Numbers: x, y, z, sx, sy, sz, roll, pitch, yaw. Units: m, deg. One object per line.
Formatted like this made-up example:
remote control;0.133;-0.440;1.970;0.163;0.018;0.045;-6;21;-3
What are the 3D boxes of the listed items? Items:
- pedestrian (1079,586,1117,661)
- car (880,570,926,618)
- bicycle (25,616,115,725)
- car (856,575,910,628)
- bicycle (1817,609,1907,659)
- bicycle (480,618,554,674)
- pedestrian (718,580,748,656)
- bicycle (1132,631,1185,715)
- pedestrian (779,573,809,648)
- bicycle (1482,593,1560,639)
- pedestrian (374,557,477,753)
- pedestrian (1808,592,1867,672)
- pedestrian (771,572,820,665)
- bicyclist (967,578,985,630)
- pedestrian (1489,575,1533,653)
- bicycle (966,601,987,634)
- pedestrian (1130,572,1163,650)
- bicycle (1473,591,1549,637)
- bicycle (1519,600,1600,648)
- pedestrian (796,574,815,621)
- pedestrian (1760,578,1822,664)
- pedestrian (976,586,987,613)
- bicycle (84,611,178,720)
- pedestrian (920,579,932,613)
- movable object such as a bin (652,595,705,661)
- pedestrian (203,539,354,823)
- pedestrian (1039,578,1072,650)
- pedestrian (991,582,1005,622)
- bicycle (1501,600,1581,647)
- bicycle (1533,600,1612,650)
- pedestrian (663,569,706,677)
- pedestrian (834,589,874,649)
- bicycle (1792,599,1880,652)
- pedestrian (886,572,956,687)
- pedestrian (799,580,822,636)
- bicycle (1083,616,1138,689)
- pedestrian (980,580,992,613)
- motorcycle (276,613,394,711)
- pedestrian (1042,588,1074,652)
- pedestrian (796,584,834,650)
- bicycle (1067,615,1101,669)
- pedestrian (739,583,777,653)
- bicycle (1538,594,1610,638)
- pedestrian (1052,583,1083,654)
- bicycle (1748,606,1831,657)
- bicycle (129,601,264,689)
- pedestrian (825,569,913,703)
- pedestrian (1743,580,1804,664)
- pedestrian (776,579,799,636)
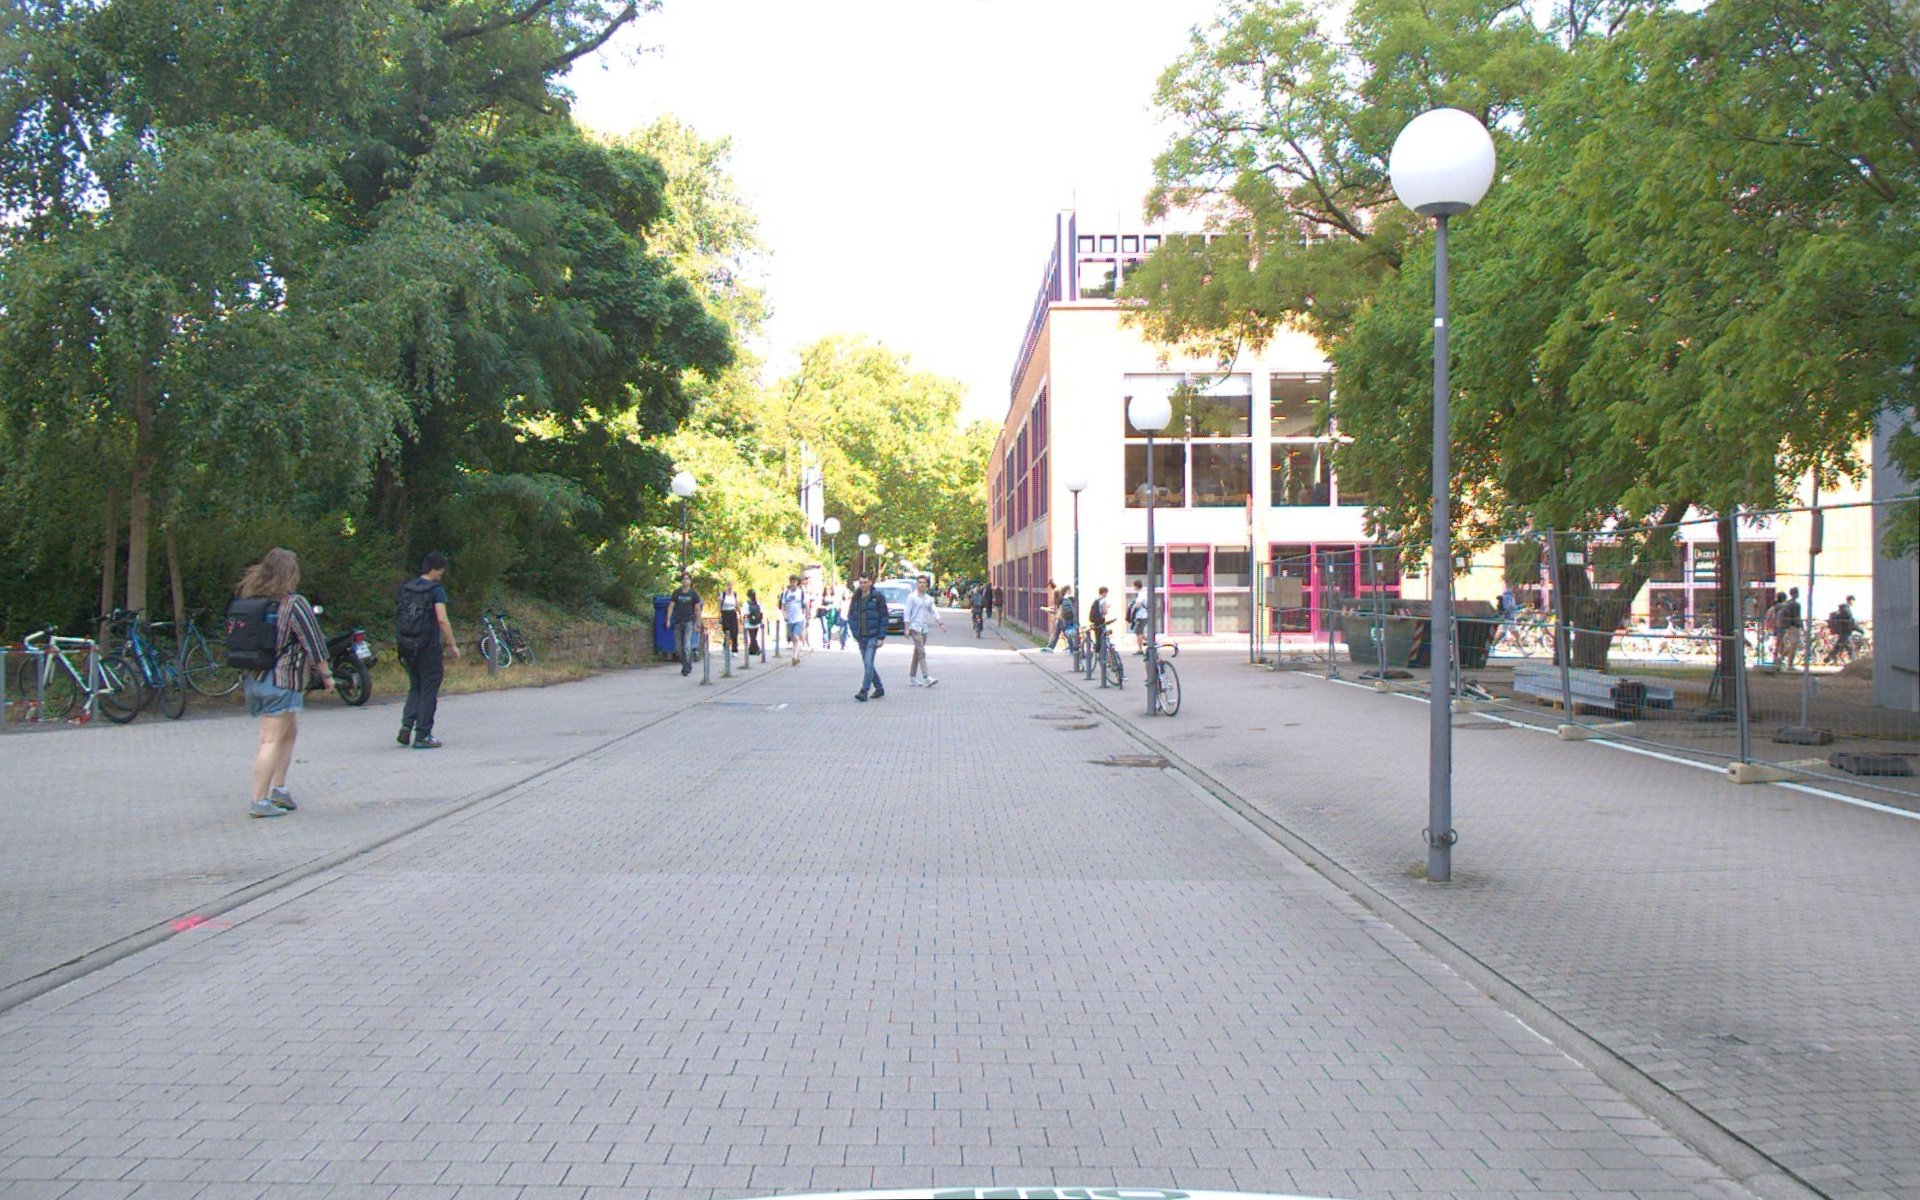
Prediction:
pedestrian;3.121;0.518;37.457;0.834;1.680;0.588;0;-1;7
car;-2.425;-0.274;71.428;1.845;2.008;5.214;0;1;-1
bicycle;-9.307;0.709;17.275;0.470;1.065;1.674;0;0;-41
car;-2.716;0.036;59.132;1.754;1.792;4.481;-1;1;-1
bicycle;22.238;0.838;40.777;1.956;1.189;0.474;1;0;-2
bicycle;-7.520;0.774;28.118;0.412;0.926;1.741;0;-1;14
pedestrian;-5.277;0.411;38.402;0.670;1.758;1.000;0;0;-8
bicycle;2.500;0.901;20.911;0.387;0.952;1.731;-2;0;-1
pedestrian;-4.193;0.270;41.749;0.668;1.876;0.783;0;-1;-1
bicycle;14.112;0.396;41.597;1.771;1.129;0.524;1;0;2
pedestrian;-4.914;0.490;15.248;0.670;1.754;0.903;1;0;-3
pedestrian;19.419;0.712;36.596;0.884;1.758;0.684;0;-2;-6
pedestrian;-3.450;0.383;34.755;0.708;1.914;1.083;0;-1;11
bicyclist;0.549;0.134;56.870;0.575;1.746;0.665;0;0;-4
pedestrian;12.589;0.321;37.826;0.883;1.758;0.685;-1;-2;16
bicycle;0.553;0.599;56.855;0.575;1.102;1.906;0;0;-4
pedestrian;4.480;0.269;39.746;0.750;1.826;0.588;-2;-1;7
bicycle;14.175;0.359;42.566;1.773;1.129;0.523;1;0;-4
bicycle;14.527;0.573;40.085;1.771;1.129;0.524;1;0;3
pedestrian;-6.282;-0.092;67.282;0.668;1.876;0.783;0;-1;-1
pedestrian;17.288;0.446;34.435;0.884;1.758;0.684;0;-2;-6
pedestrian;1.406;-0.035;108.808;0.710;1.702;0.748;-1;-1;0
bicycle;-8.919;0.686;17.768;0.470;1.065;1.674;2;0;-41
pedestrian;-1.750;-0.194;85.559;0.574;1.702;0.817;-1;-1;1
movable object such as a bin;-5.994;0.581;35.259;0.694;1.359;1.240;2;0;9
pedestrian;-4.363;0.503;10.630;0.670;1.754;0.731;1;0;-3
pedestrian;2.503;0.375;43.393;0.809;1.876;0.684;0;-1;-3
pedestrian;1.657;0.088;72.185;0.574;1.702;0.699;-1;-1;1
bicycle;14.314;0.581;40.744;1.773;1.129;0.523;1;0;-2
bicycle;14.416;0.583;38.960;1.659;1.129;0.474;1;0;2
pedestrian;-4.968;0.416;29.855;0.669;1.905;1.120;0;-1;-5
pedestrian;-2.781;0.499;43.517;0.867;1.569;0.743;1;-1;11
bicycle;20.377;0.589;38.489;1.768;1.189;0.474;1;0;2
pedestrian;-0.655;0.478;27.683;0.773;1.877;1.109;1;0;-25
pedestrian;-4.403;0.237;48.778;0.669;1.649;0.913;0;-1;-5
bicycle;2.419;0.829;26.717;0.694;1.112;1.748;0;0;-1
pedestrian;1.358;-0.168;86.221;0.574;1.702;0.817;-1;-1;1
motorcycle;-7.578;0.723;20.021;1.990;1.065;0.471;2;1;42
pedestrian;2.521;0.511;42.672;0.765;1.649;0.684;0;-1;-3
pedestrian;-3.739;0.435;42.692;0.867;1.702;0.559;0;-1;7
bicycle;2.406;0.802;32.223;0.441;0.978;1.740;-3;0;-1
pedestrian;-4.821;0.433;39.444;0.564;1.639;0.907;1;-1;-34
bicycle;16.311;0.420;43.957;1.771;1.129;0.473;1;0;-7
pedestrian;2.639;0.443;40.442;0.682;1.702;0.588;-2;-1;7
bicycle;20.040;0.763;39.969;1.769;1.189;0.474;1;0;-1
bicycle;-9.688;0.560;21.054;0.463;1.065;1.700;2;0;20
pedestrian;-1.321;0.504;24.105;0.868;1.890;1.031;1;0;26
pedestrian;17.288;0.478;35.161;0.884;1.758;0.684;0;-2;-6
pedestrian;-5.077;0.226;48.685;0.669;1.649;0.977;0;-1;-5
